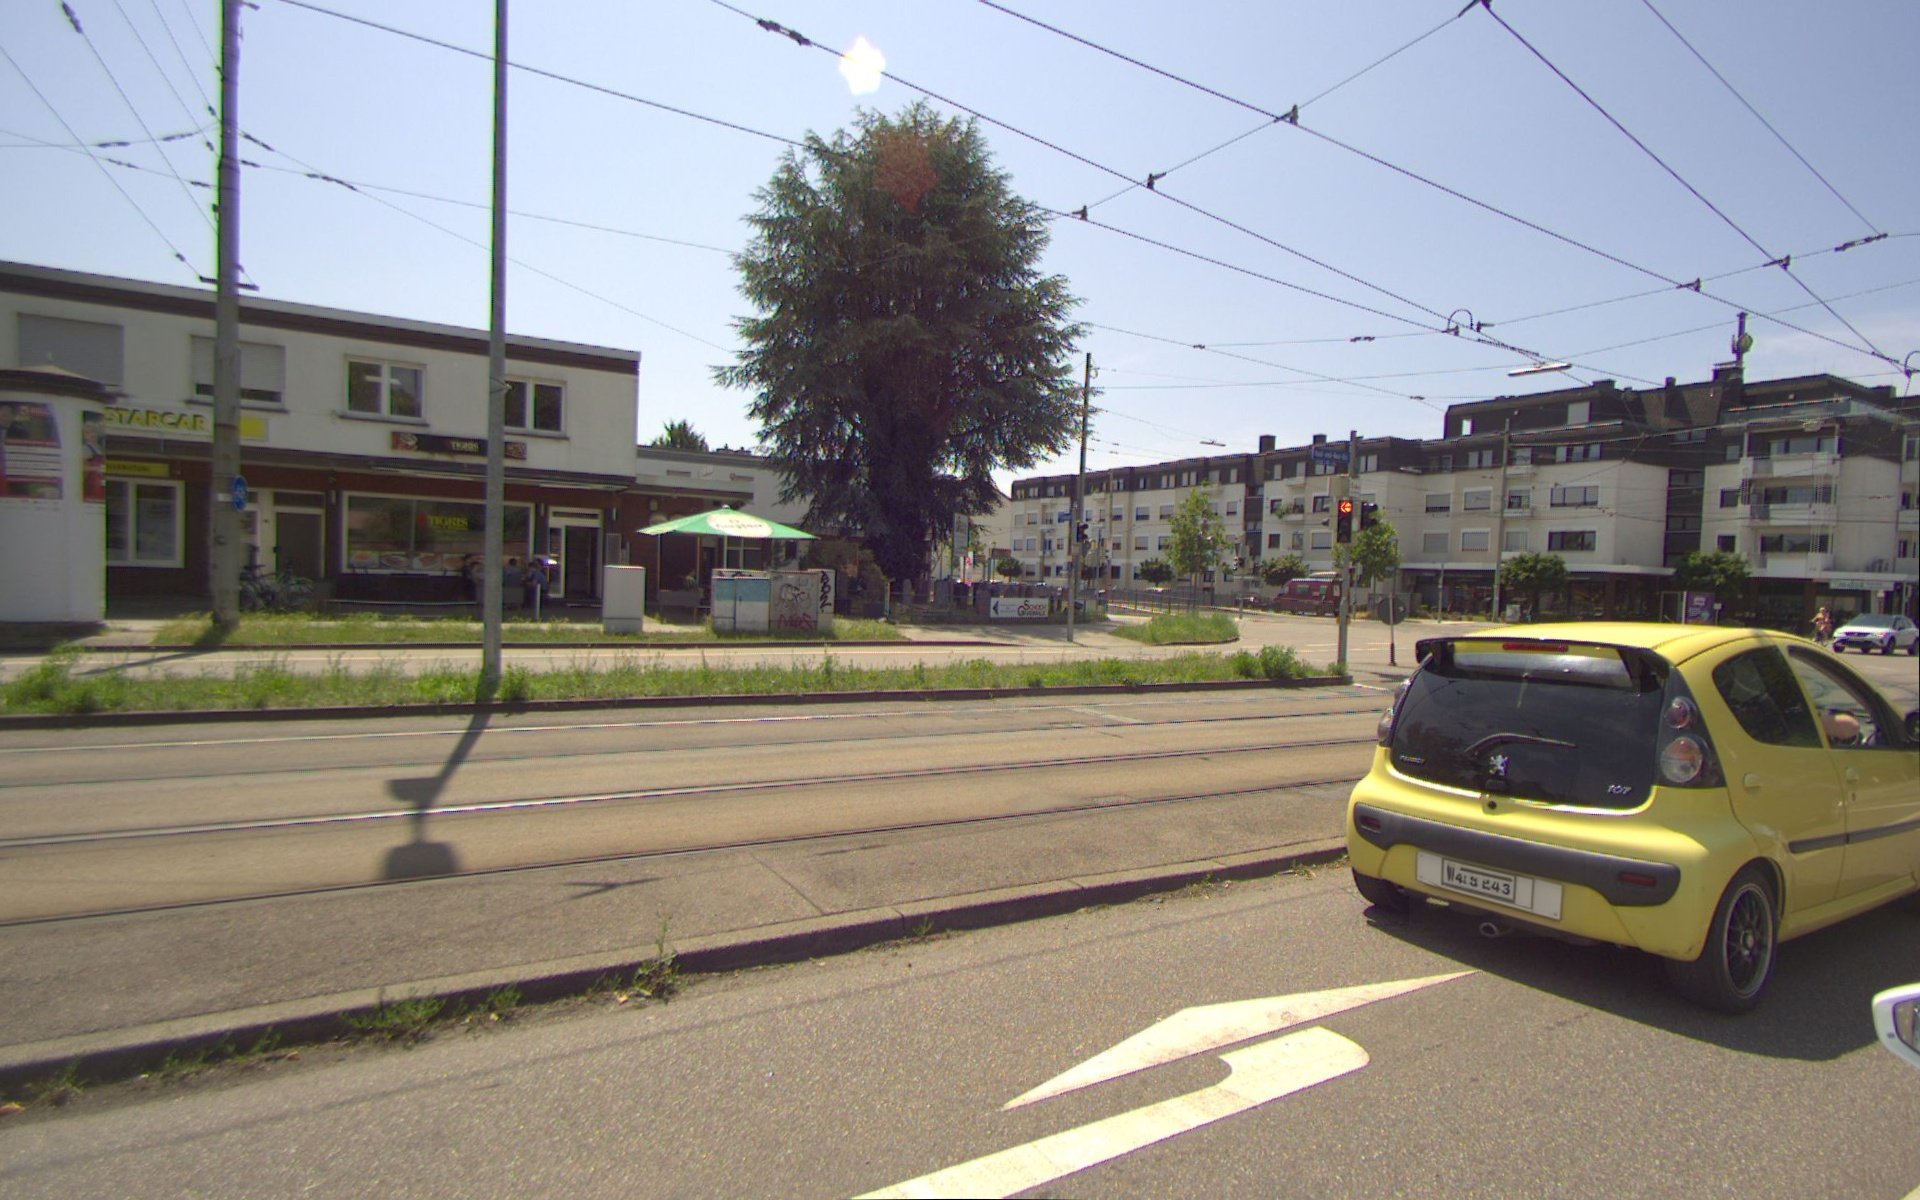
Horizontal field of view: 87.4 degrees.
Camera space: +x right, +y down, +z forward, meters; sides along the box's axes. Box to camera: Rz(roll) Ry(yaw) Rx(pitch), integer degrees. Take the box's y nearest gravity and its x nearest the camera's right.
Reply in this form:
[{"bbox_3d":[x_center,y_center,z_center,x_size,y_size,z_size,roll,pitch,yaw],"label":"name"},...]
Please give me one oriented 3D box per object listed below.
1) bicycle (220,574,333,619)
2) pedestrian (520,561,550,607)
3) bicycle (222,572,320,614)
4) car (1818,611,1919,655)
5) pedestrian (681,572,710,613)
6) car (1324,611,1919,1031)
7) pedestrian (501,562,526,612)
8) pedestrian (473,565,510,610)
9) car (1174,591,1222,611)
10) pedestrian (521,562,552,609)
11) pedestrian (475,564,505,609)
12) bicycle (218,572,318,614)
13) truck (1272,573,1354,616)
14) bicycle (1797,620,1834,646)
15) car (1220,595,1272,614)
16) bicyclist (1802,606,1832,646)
[{"bbox_3d":[-14.411,-0.074,21.239,1.936,0.859,0.599,2,4,-31],"label":"bicycle"},{"bbox_3d":[-11.517,-0.431,27.188,0.666,1.225,0.514,1,2,-30],"label":"pedestrian"},{"bbox_3d":[-15.521,-0.159,22.670,1.767,0.859,0.525,2,4,-31],"label":"bicycle"},{"bbox_3d":[35.990,1.307,39.621,4.091,1.573,1.984,1,1,-30],"label":"car"},{"bbox_3d":[-7.500,-0.221,28.495,0.666,1.142,0.514,1,2,-30],"label":"pedestrian"},{"bbox_3d":[3.714,0.821,5.108,3.614,1.440,1.607,2,-1,-31],"label":"car"},{"bbox_3d":[-11.420,-0.329,25.688,0.486,1.255,0.572,1,2,-31],"label":"pedestrian"},{"bbox_3d":[-12.154,-0.321,26.049,0.801,1.142,0.561,1,2,-30],"label":"pedestrian"},{"bbox_3d":[18.283,0.064,77.283,1.571,1.452,3.553,1,1,-29],"label":"car"},{"bbox_3d":[-11.220,-0.372,26.616,0.666,1.215,0.514,1,2,-30],"label":"pedestrian"},{"bbox_3d":[-12.517,-0.357,26.733,0.666,1.179,0.514,1,2,-30],"label":"pedestrian"},{"bbox_3d":[-15.246,-0.150,22.184,1.767,0.859,0.525,2,4,-31],"label":"bicycle"},{"bbox_3d":[23.816,-0.378,67.974,2.161,2.734,5.002,1,1,-29],"label":"truck"},{"bbox_3d":[39.542,1.519,46.420,1.909,1.164,0.691,0,2,-32],"label":"bicycle"},{"bbox_3d":[20.815,0.320,73.285,1.571,1.235,3.553,1,1,-29],"label":"car"},{"bbox_3d":[39.648,1.194,46.474,1.124,1.789,0.691,0,2,-31],"label":"bicyclist"}]
